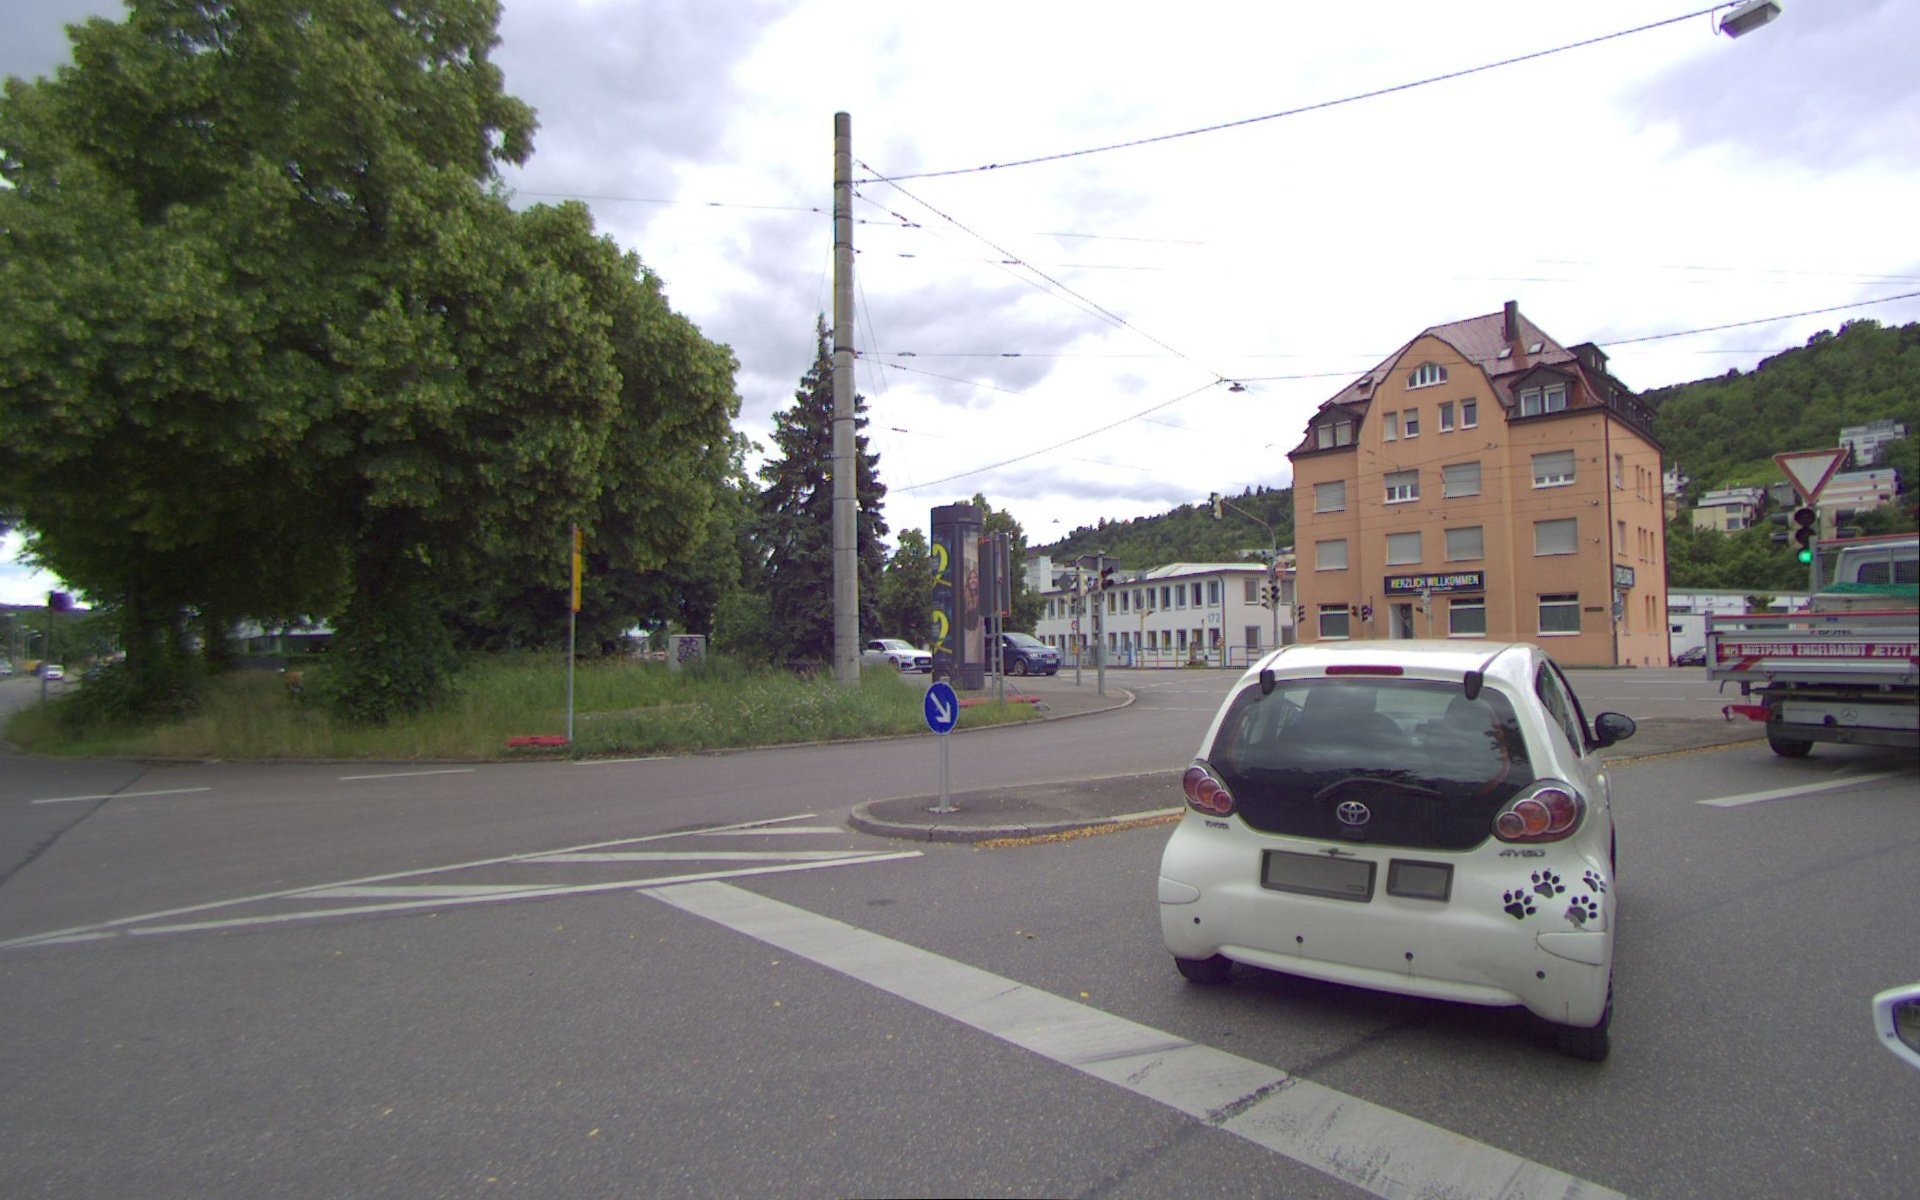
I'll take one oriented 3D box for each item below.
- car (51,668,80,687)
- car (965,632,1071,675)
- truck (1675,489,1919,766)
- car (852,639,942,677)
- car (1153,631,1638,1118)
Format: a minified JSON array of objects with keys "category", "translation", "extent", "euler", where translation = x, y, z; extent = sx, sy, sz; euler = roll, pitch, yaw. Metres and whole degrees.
[{"category":"car","translation":[-101.583,8.812,114.112],"extent":[1.814,1.970,4.529],"euler":[0,-3,-34]},{"category":"car","translation":[2.007,1.893,35.546],"extent":[1.734,1.410,3.662],"euler":[0,-3,-39]},{"category":"truck","translation":[10.501,0.286,10.970],"extent":[5.589,2.453,2.302],"euler":[0,-3,-31]},{"category":"car","translation":[-2.618,2.370,41.084],"extent":[1.733,1.445,4.123],"euler":[0,-3,-36]},{"category":"car","translation":[2.342,0.893,4.911],"extent":[1.571,1.439,3.364],"euler":[0,-1,34]}]
